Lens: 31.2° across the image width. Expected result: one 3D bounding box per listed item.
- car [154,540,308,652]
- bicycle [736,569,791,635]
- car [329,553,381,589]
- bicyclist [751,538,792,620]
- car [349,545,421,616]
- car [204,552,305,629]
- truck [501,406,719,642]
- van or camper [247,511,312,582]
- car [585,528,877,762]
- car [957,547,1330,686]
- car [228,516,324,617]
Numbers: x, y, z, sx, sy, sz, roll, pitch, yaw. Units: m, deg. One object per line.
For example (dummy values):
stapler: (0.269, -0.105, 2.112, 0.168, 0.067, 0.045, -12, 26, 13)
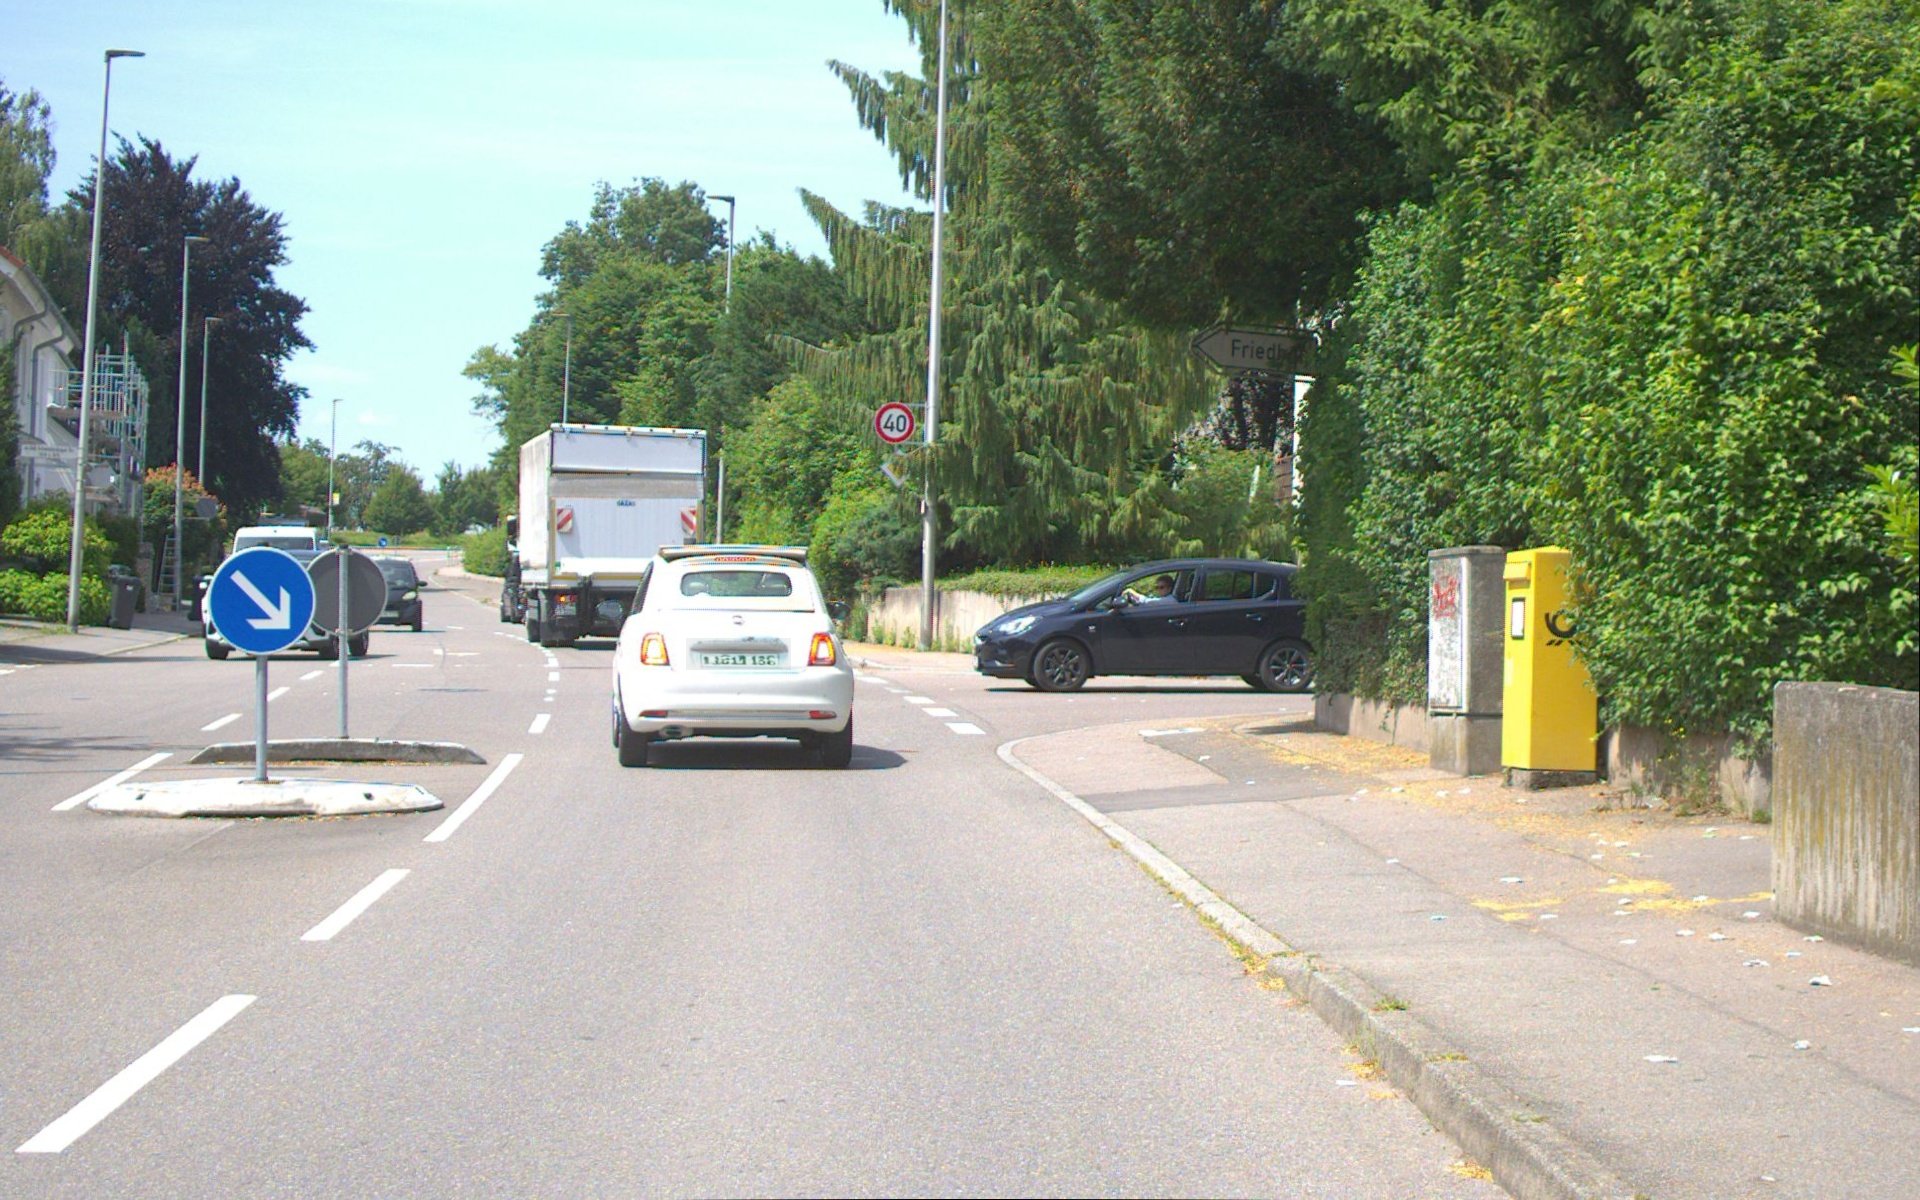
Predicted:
car: (-10.438, -0.063, 49.437, 1.782, 1.524, 4.171, 0, 0, -7)
bicycle: (-3.473, 0.026, 60.469, 0.668, 1.100, 2.426, 2, 0, -9)
car: (-26.928, -1.286, 153.018, 1.833, 1.529, 4.001, 2, 0, -4)
bicyclist: (-3.303, -0.368, 60.273, 0.588, 1.408, 0.742, 3, 0, -9)
car: (-12.417, -0.432, 74.350, 1.480, 1.505, 2.801, 0, 1, -9)
car: (-13.454, -0.202, 65.659, 1.804, 1.393, 4.001, 1, 0, -11)
truck: (-6.162, -1.249, 59.392, 3.067, 3.761, 7.870, 1, 0, -10)
van or camper: (-29.901, -2.338, 151.146, 2.264, 2.952, 5.890, 3, 1, -7)
car: (-1.753, 0.279, 25.132, 1.724, 1.555, 4.001, 1, 1, -9)
car: (2.015, 0.170, 38.349, 3.932, 1.453, 1.659, 1, 0, -5)
car: (-15.609, -0.768, 78.493, 2.036, 2.192, 5.584, 1, 0, -11)
